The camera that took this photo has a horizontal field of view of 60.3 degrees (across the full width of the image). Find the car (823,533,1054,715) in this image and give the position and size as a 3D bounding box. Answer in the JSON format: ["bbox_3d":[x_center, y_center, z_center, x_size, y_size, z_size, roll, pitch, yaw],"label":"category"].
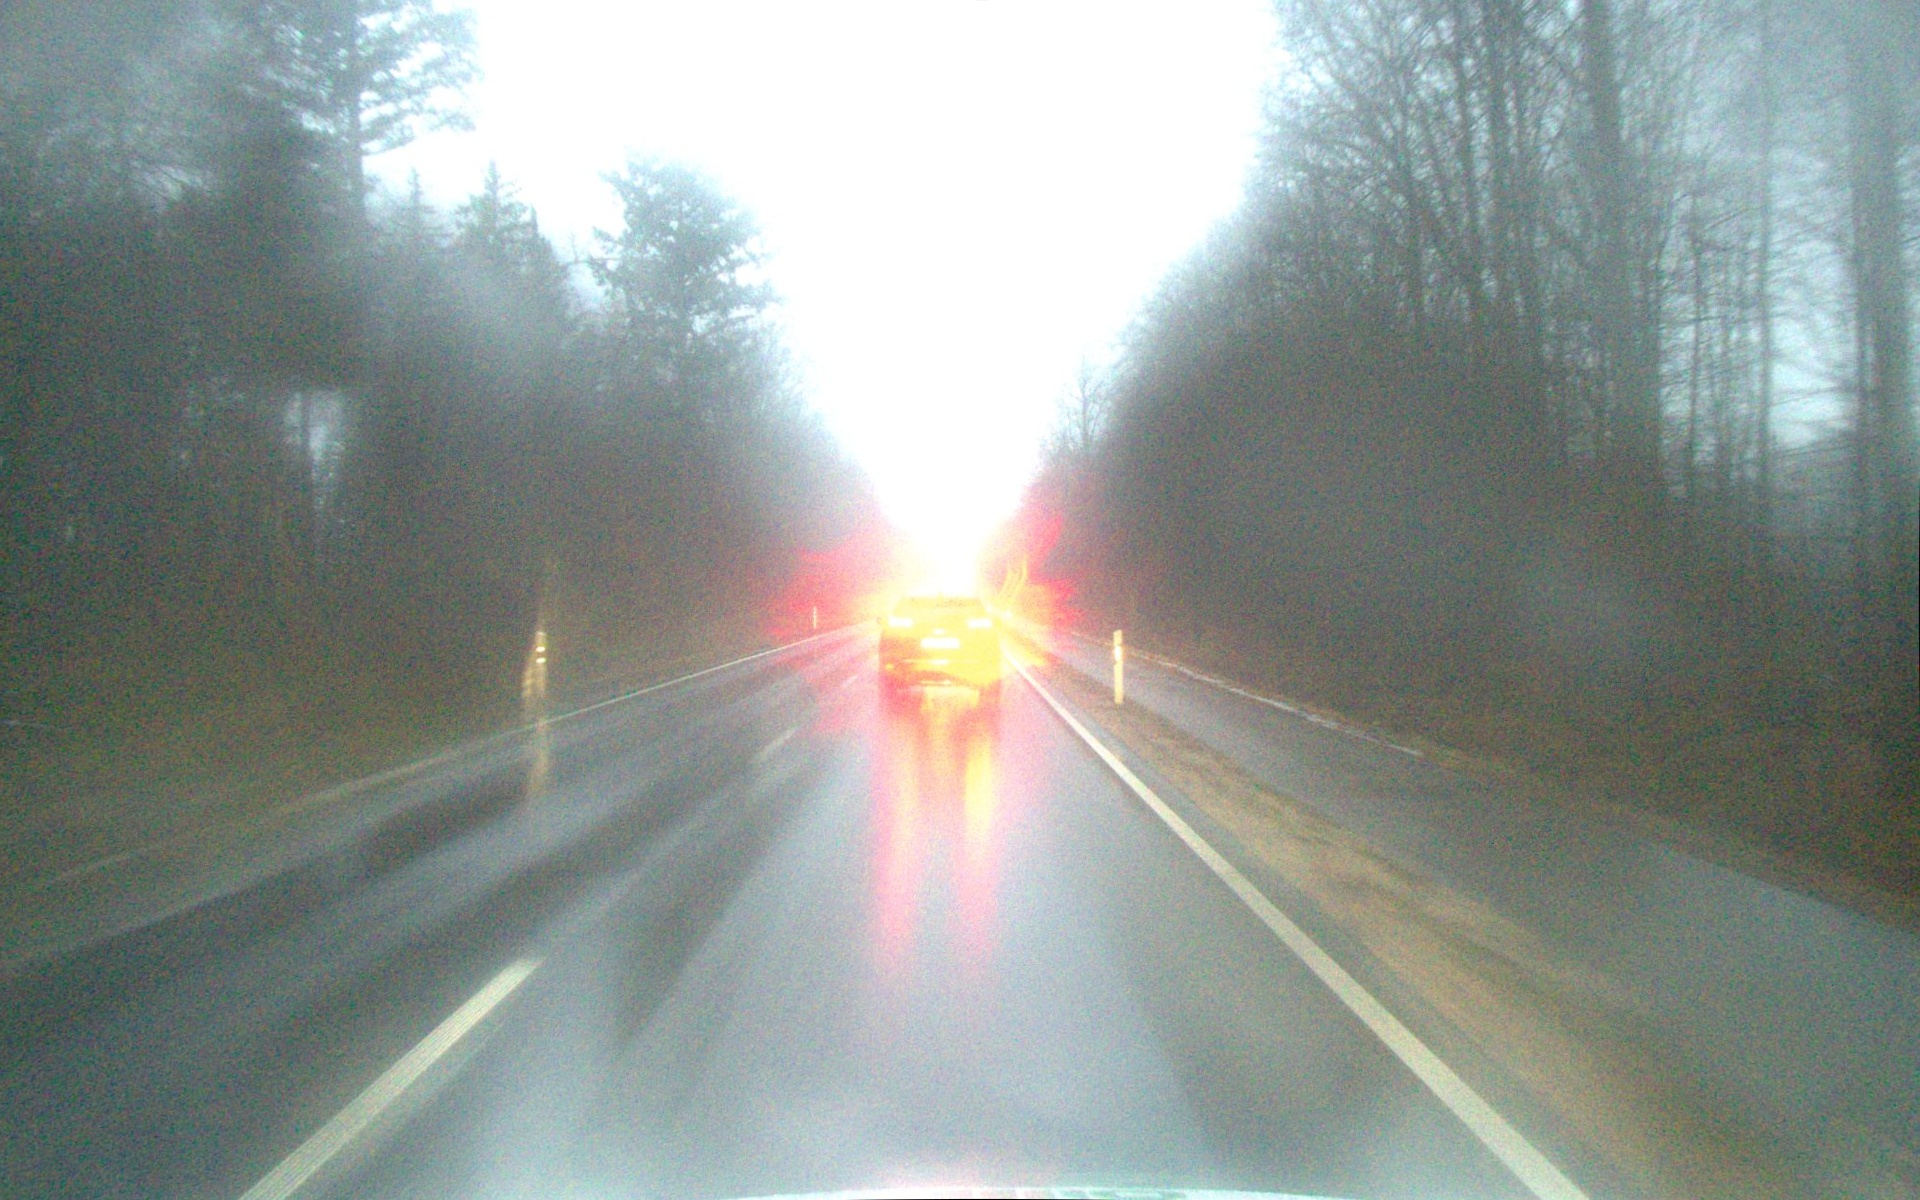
[{"bbox_3d":[-0.308,0.321,25.834,3.118,2.428,6.635,1,0,0],"label":"car"}]
